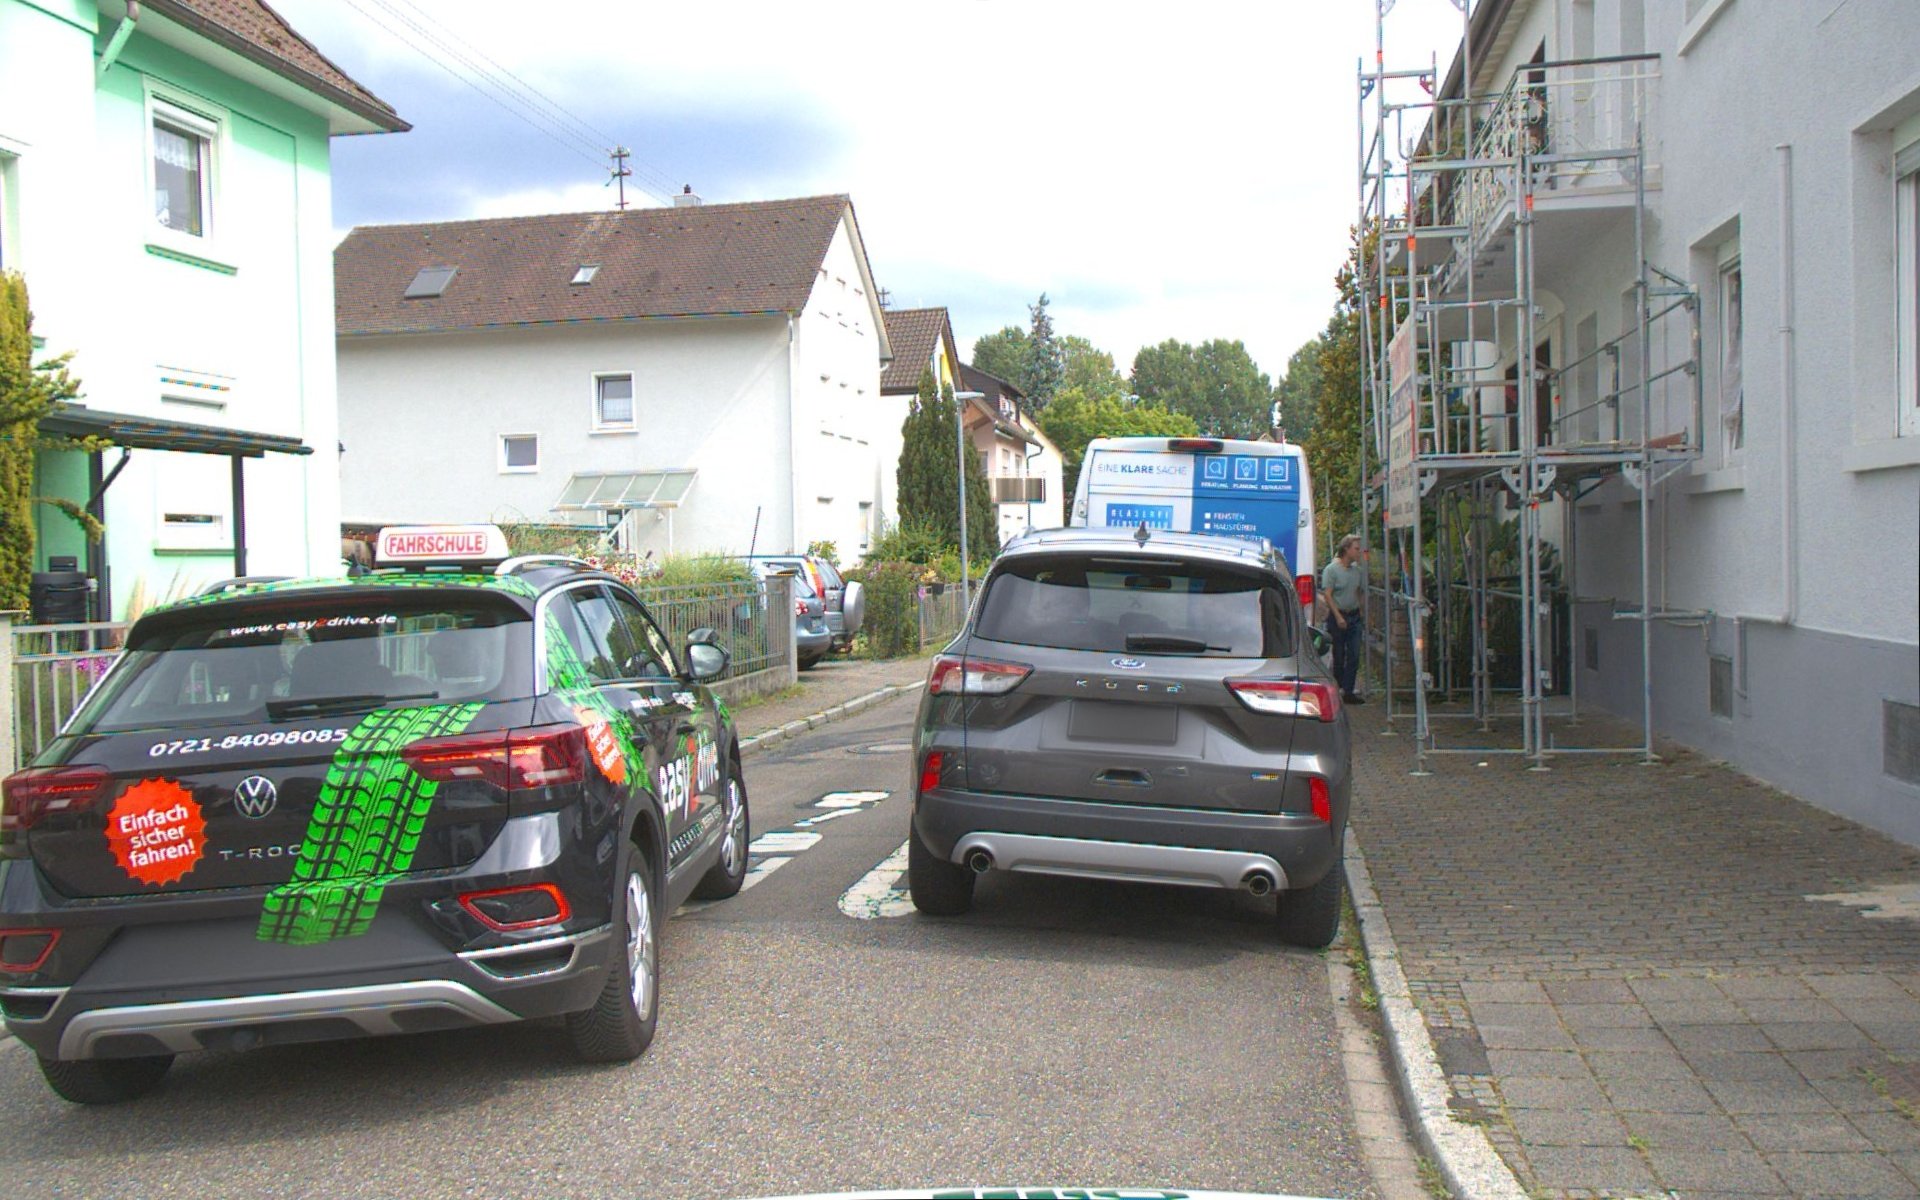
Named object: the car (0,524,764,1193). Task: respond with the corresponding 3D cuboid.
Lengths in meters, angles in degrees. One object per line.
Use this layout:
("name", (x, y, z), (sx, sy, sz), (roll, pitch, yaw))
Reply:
("car", (-1.818, 0.612, 6.039), (1.780, 1.546, 4.042), (-3, 1, -2))

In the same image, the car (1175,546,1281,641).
("car", (5.434, -0.187, 33.911), (1.951, 1.780, 4.346), (-1, 1, 8))

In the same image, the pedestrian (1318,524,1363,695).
("pedestrian", (4.088, 0.101, 17.784), (0.399, 1.793, 0.513), (-1, 0, 9))

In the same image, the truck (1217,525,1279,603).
("truck", (10.546, -1.330, 60.831), (2.084, 2.703, 4.589), (-1, 1, 8))

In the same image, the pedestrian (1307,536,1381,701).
("pedestrian", (3.950, 0.185, 17.037), (0.610, 1.657, 0.603), (-1, 0, 4))

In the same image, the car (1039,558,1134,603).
("car", (5.437, -0.821, 70.802), (3.902, 1.803, 1.871), (-2, 0, 7))

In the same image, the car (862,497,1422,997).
("car", (0.924, 0.479, 8.072), (1.951, 1.757, 4.346), (-1, 1, 8))

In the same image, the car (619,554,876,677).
("car", (-3.143, 0.220, 24.847), (3.495, 1.696, 1.589), (-2, 1, 6))

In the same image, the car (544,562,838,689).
("car", (-3.510, 0.316, 21.902), (3.495, 1.527, 1.589), (-2, 1, 6))

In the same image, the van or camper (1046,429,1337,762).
("van or camper", (2.181, -0.091, 15.155), (2.145, 2.501, 5.059), (-1, 1, 10))
